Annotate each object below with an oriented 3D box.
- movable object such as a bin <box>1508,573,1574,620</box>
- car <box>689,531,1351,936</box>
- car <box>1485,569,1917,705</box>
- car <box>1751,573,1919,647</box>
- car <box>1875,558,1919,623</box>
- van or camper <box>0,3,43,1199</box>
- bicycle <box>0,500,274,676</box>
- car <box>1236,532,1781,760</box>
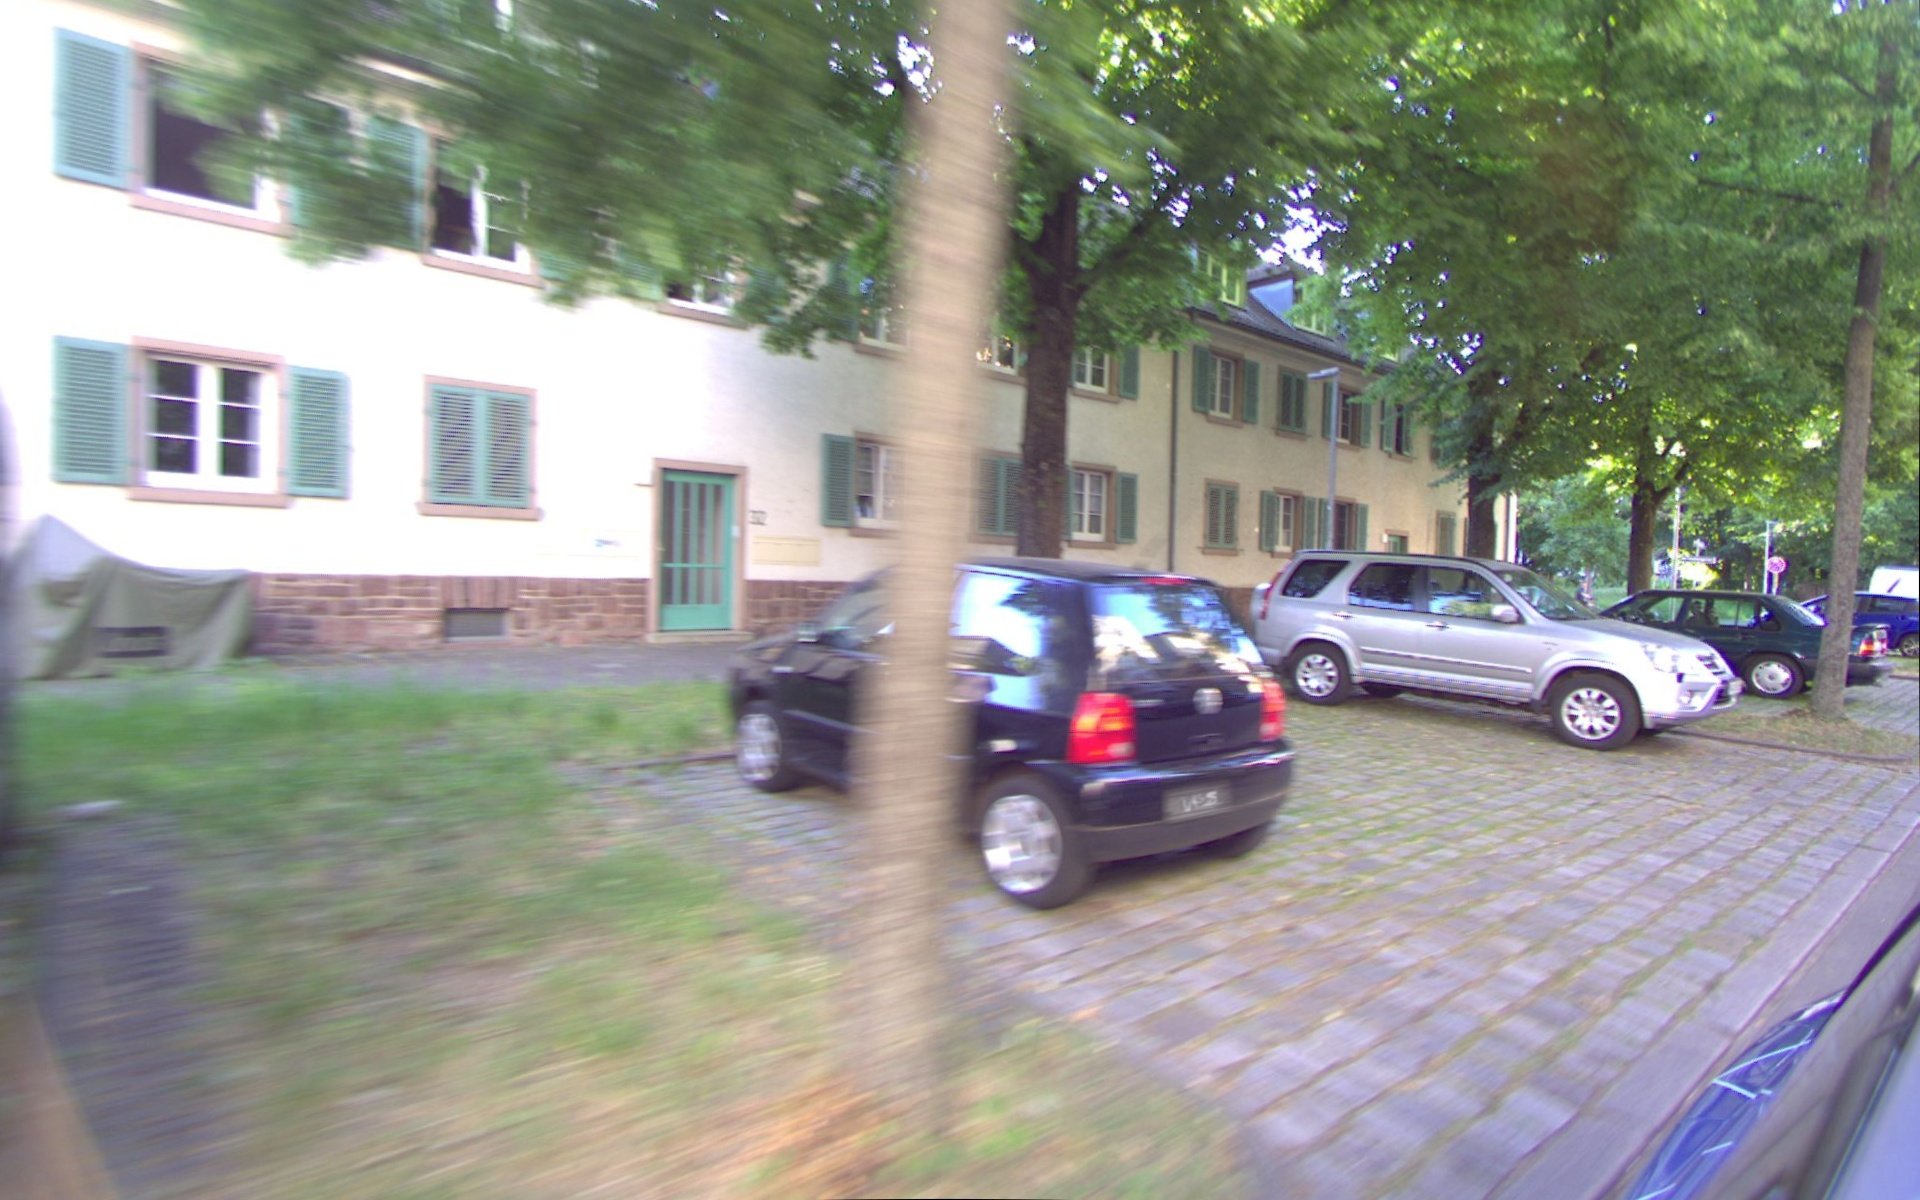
[{"bbox_3d":[22.021,-0.166,38.380,1.560,1.677,1.641,-1,3,-33],"label":"movable object such as a bin"},{"bbox_3d":[0.078,0.388,5.653,1.721,1.490,3.508,-2,4,-41],"label":"car"},{"bbox_3d":[10.866,0.391,15.194,1.909,1.459,4.903,-2,5,-42],"label":"car"},{"bbox_3d":[22.350,0.207,25.107,1.966,1.574,3.994,-2,5,-42],"label":"car"},{"bbox_3d":[41.412,-0.370,41.448,2.200,2.646,5.623,-2,3,-41],"label":"car"},{"bbox_3d":[-3.554,-0.140,2.194,2.230,2.566,5.585,-2,5,-42],"label":"van or camper"},{"bbox_3d":[-7.459,-0.124,9.114,0.798,1.416,1.978,2,2,36],"label":"bicycle"},{"bbox_3d":[5.362,0.264,10.423,1.909,1.689,4.485,1,4,-42],"label":"car"}]
